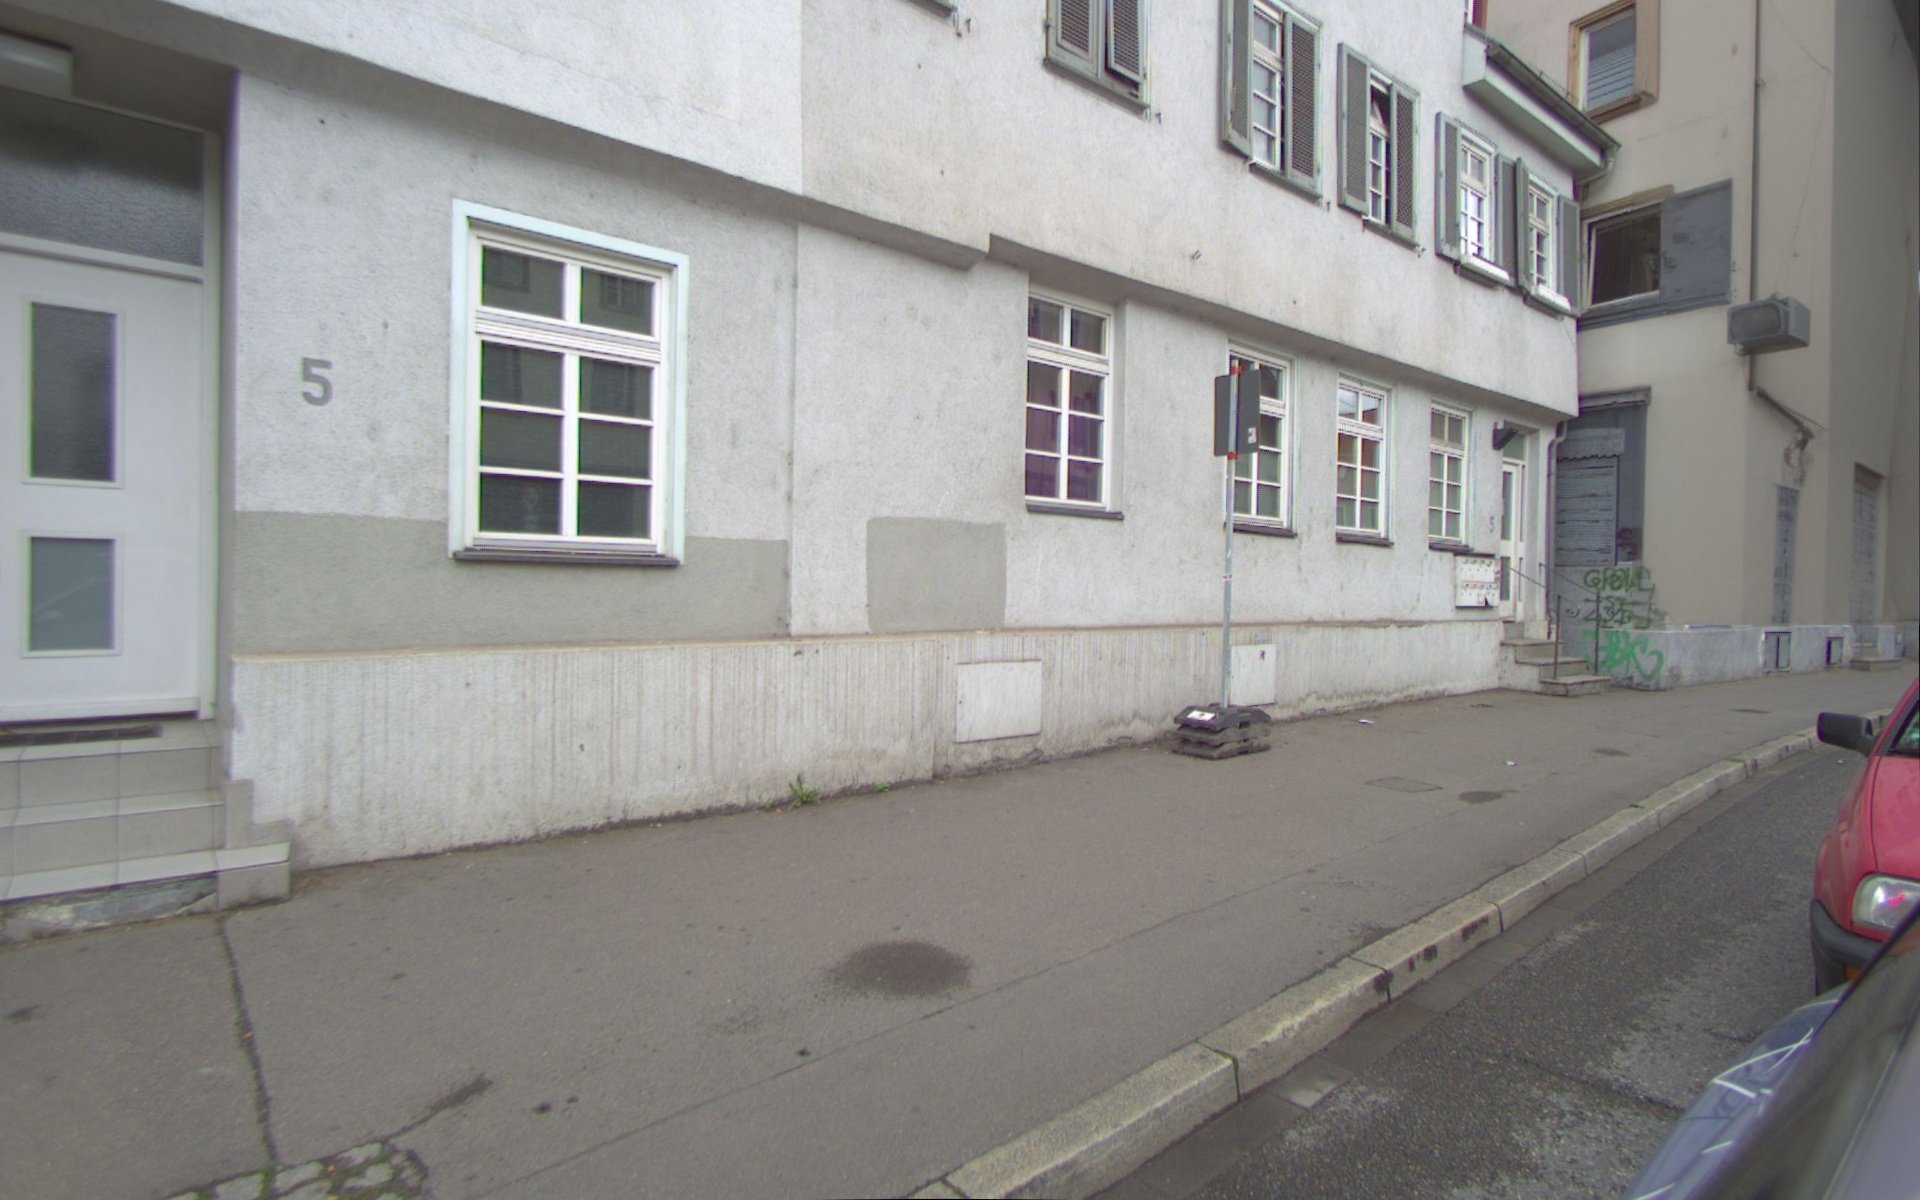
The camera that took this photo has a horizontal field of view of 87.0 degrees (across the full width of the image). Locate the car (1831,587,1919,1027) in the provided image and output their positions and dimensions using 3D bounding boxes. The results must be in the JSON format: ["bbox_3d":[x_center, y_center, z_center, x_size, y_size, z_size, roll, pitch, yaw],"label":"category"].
[{"bbox_3d":[5.057,0.697,4.148,3.950,1.445,1.684,0,1,-41],"label":"car"}]
